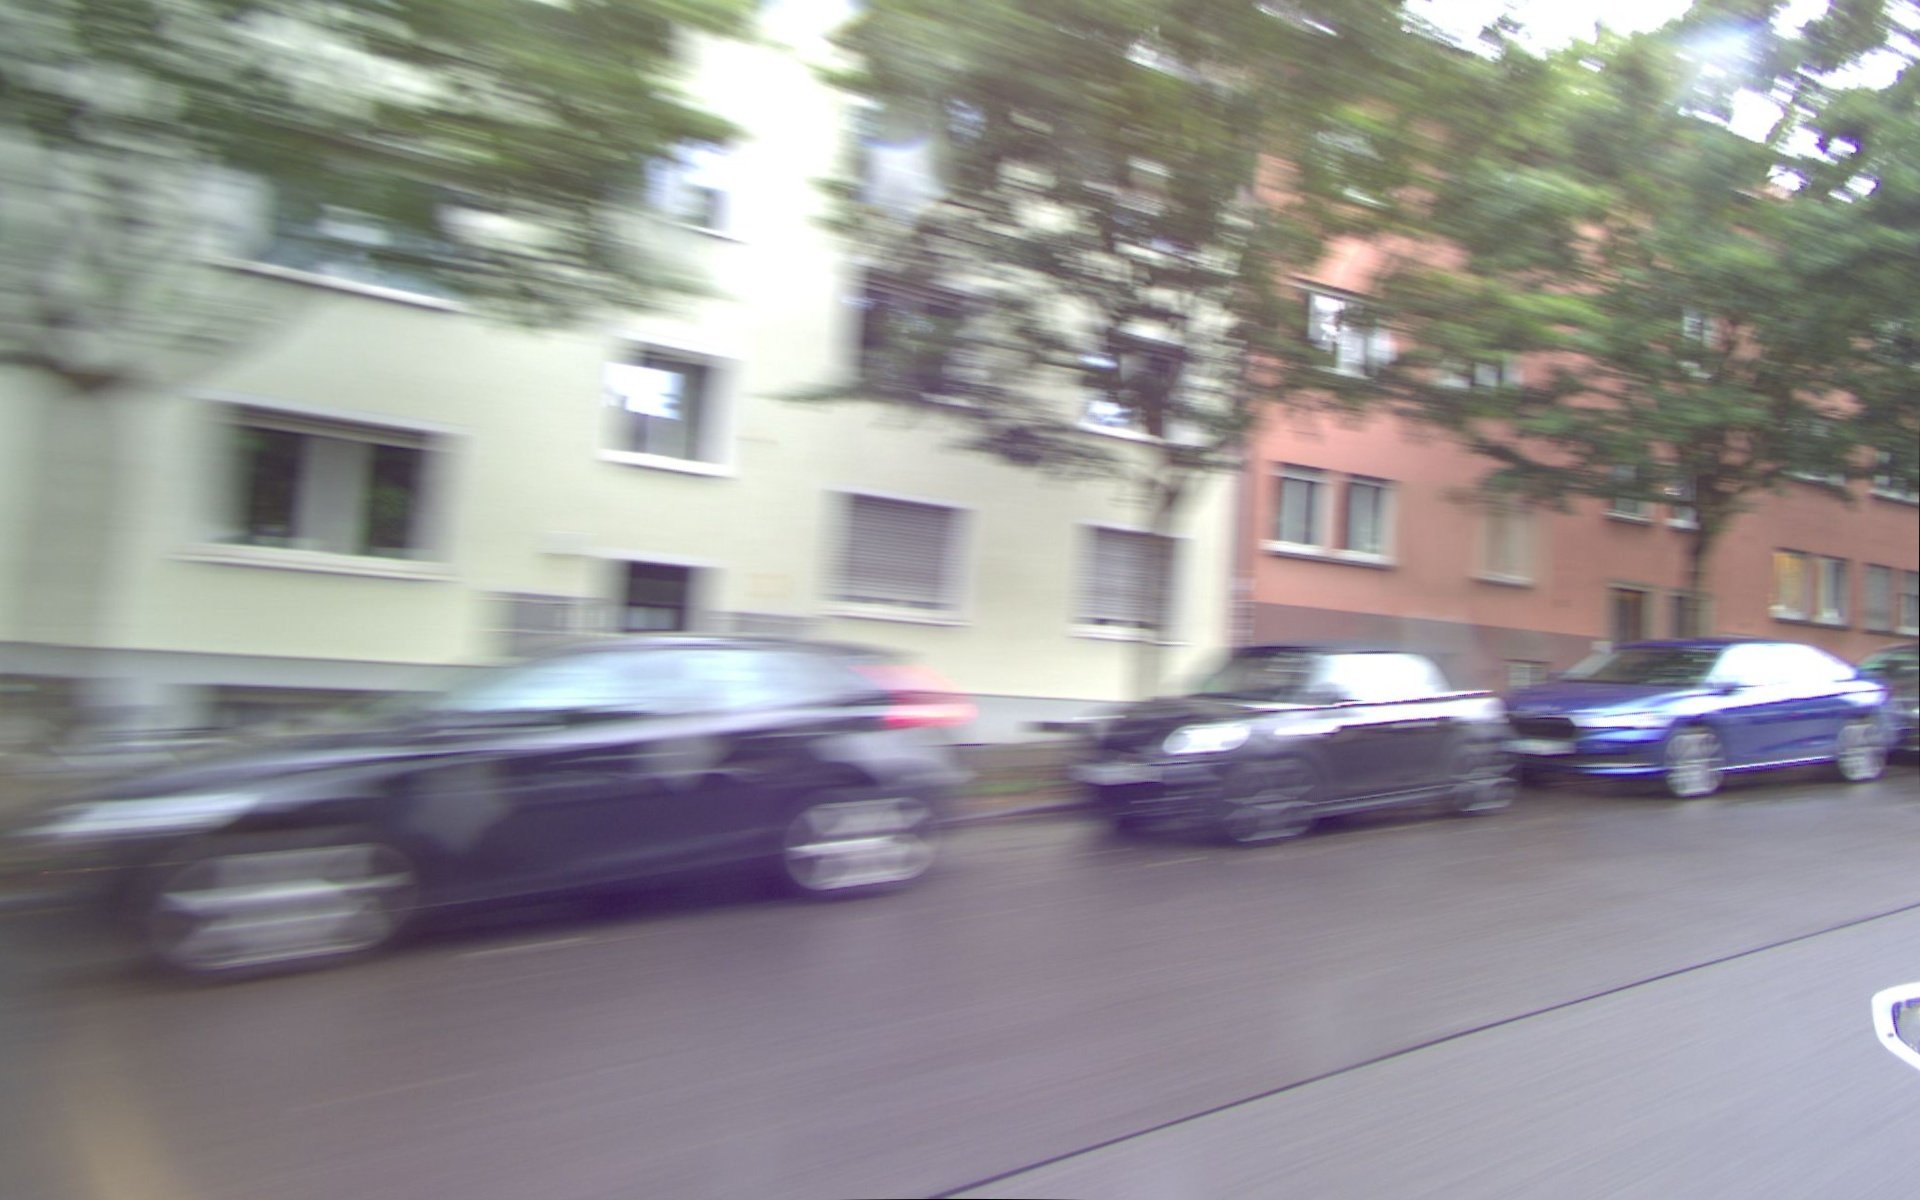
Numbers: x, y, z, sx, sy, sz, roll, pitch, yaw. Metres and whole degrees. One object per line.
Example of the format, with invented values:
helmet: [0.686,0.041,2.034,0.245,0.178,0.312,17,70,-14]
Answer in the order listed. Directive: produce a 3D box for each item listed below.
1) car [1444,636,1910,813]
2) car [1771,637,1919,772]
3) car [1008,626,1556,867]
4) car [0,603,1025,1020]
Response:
car: [7.528,1.159,10.500,4.794,1.513,1.783,1,-2,-24]
car: [12.512,1.247,12.778,4.303,1.513,1.781,1,-2,-26]
car: [2.686,0.996,8.157,4.308,1.513,1.780,2,-2,-29]
car: [-2.064,0.833,5.446,4.587,1.513,1.780,2,-1,-29]
